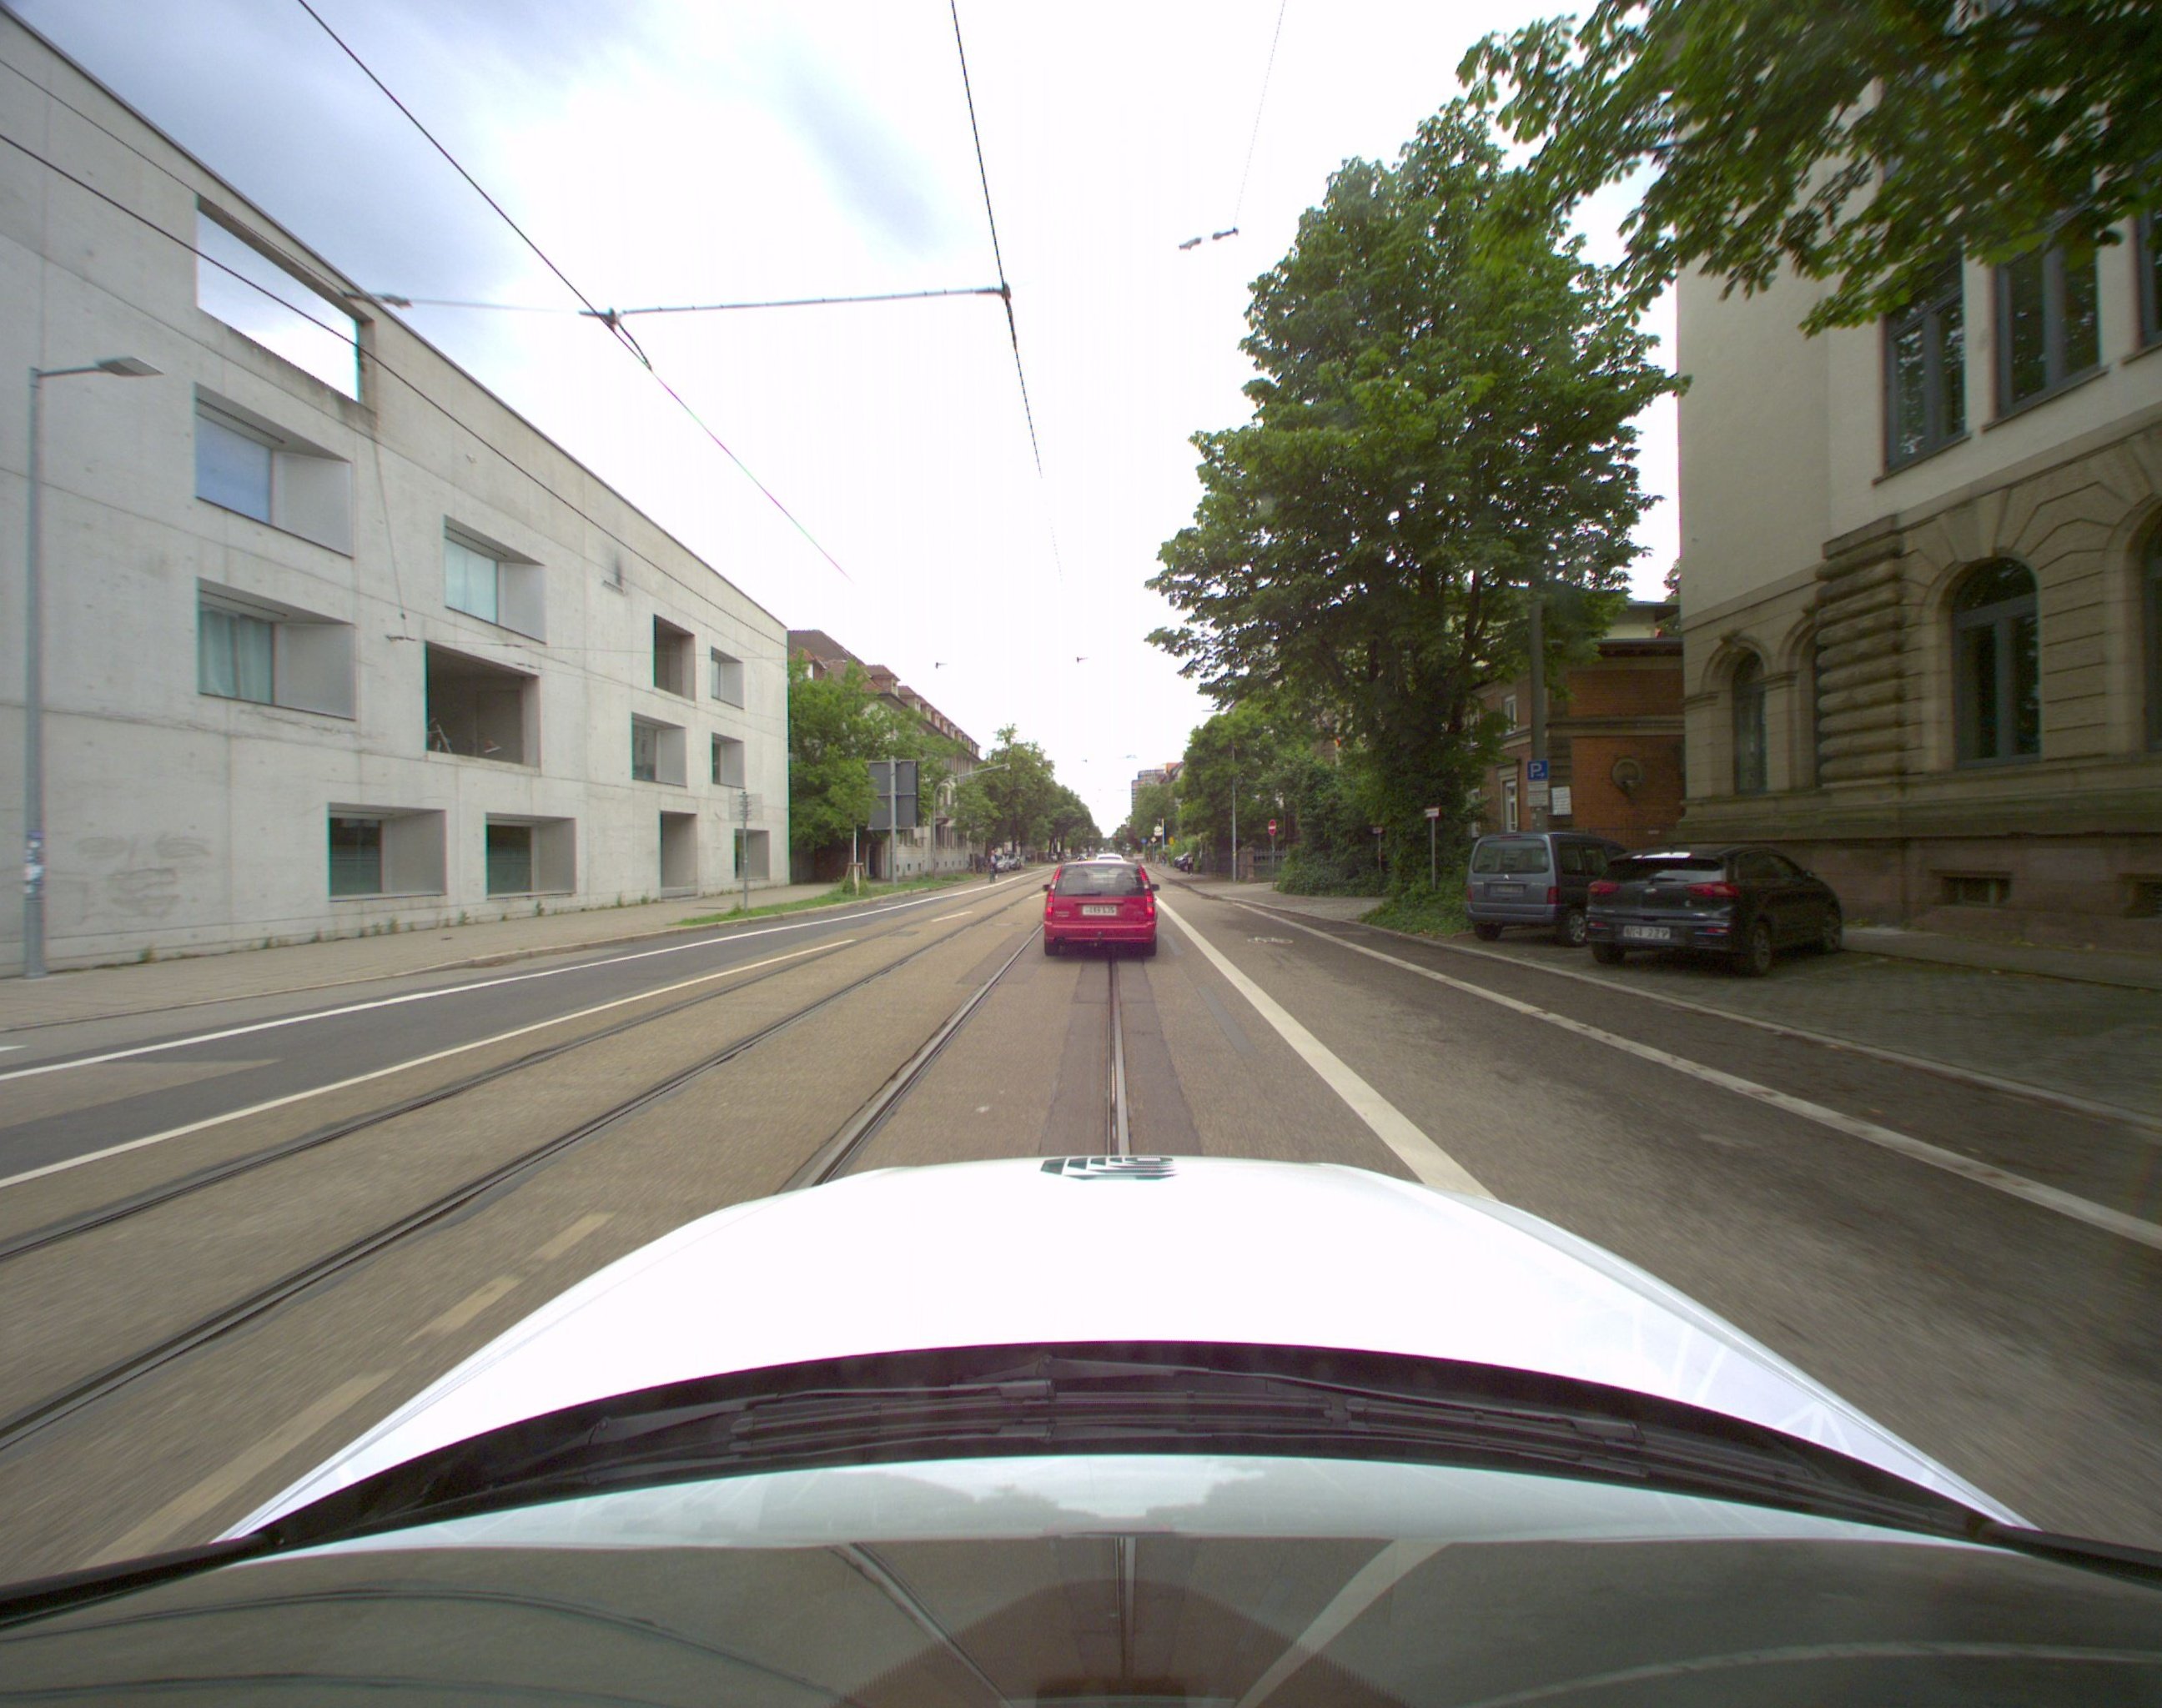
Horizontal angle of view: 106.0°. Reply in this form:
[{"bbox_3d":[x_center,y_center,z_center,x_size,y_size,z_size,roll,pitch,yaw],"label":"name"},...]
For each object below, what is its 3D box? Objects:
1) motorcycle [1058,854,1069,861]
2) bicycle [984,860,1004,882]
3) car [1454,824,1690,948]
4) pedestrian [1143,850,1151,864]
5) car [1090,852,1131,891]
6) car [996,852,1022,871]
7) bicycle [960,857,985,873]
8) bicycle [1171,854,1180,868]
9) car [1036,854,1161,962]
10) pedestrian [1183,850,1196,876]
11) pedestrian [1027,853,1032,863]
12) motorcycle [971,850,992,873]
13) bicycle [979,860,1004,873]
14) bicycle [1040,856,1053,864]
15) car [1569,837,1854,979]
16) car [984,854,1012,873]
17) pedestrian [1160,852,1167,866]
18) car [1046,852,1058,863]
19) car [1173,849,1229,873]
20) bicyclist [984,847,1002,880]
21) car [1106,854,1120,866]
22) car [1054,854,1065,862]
[{"bbox_3d":[-3.805,0.748,174.893,2.243,1.511,0.932,-1,-2,37],"label":"motorcycle"},{"bbox_3d":[-4.966,0.975,46.369,0.788,1.186,2.012,-3,0,2],"label":"bicycle"},{"bbox_3d":[8.431,0.451,13.935,3.851,1.820,1.790,-2,0,-30],"label":"car"},{"bbox_3d":[8.209,0.354,101.523,0.866,1.656,0.912,-1,0,14],"label":"pedestrian"},{"bbox_3d":[1.364,0.754,36.705,1.711,1.625,3.945,-1,0,4],"label":"car"},{"bbox_3d":[-6.686,0.709,76.064,1.830,1.661,4.296,1,0,3],"label":"car"},{"bbox_3d":[-7.787,0.768,58.420,1.727,1.129,0.520,-1,0,19],"label":"bicycle"},{"bbox_3d":[8.422,0.600,72.496,0.630,1.127,1.813,-3,1,1],"label":"bicycle"},{"bbox_3d":[0.325,0.739,13.013,1.682,1.441,3.745,-1,0,2],"label":"car"},{"bbox_3d":[7.182,0.615,53.929,0.621,1.671,0.960,-4,0,1],"label":"pedestrian"},{"bbox_3d":[-7.741,0.549,122.837,0.562,1.467,0.723,-1,0,2],"label":"pedestrian"},{"bbox_3d":[-7.361,0.544,60.208,0.827,1.643,2.487,-1,0,10],"label":"motorcycle"},{"bbox_3d":[-7.034,0.988,64.078,1.890,1.027,0.563,-1,0,-3],"label":"bicycle"},{"bbox_3d":[-5.506,0.968,130.182,1.915,1.121,0.624,1,0,1],"label":"bicycle"},{"bbox_3d":[8.575,0.589,11.001,4.016,1.539,1.845,-2,0,-34],"label":"car"},{"bbox_3d":[-6.852,0.762,67.563,1.805,1.466,4.615,0,0,1],"label":"car"},{"bbox_3d":[9.490,0.555,93.473,0.790,1.636,0.836,-1,0,2],"label":"pedestrian"},{"bbox_3d":[-4.779,0.569,134.612,1.890,1.655,4.226,0,0,1],"label":"car"},{"bbox_3d":[9.694,0.567,66.121,4.262,1.809,1.825,-2,0,3],"label":"car"},{"bbox_3d":[-4.979,0.538,46.341,0.788,1.783,1.148,-3,0,2],"label":"bicyclist"},{"bbox_3d":[4.377,0.860,113.101,1.736,1.606,3.999,-1,0,0],"label":"car"},{"bbox_3d":[-4.099,0.713,153.522,1.770,1.511,4.240,0,0,3],"label":"car"}]
